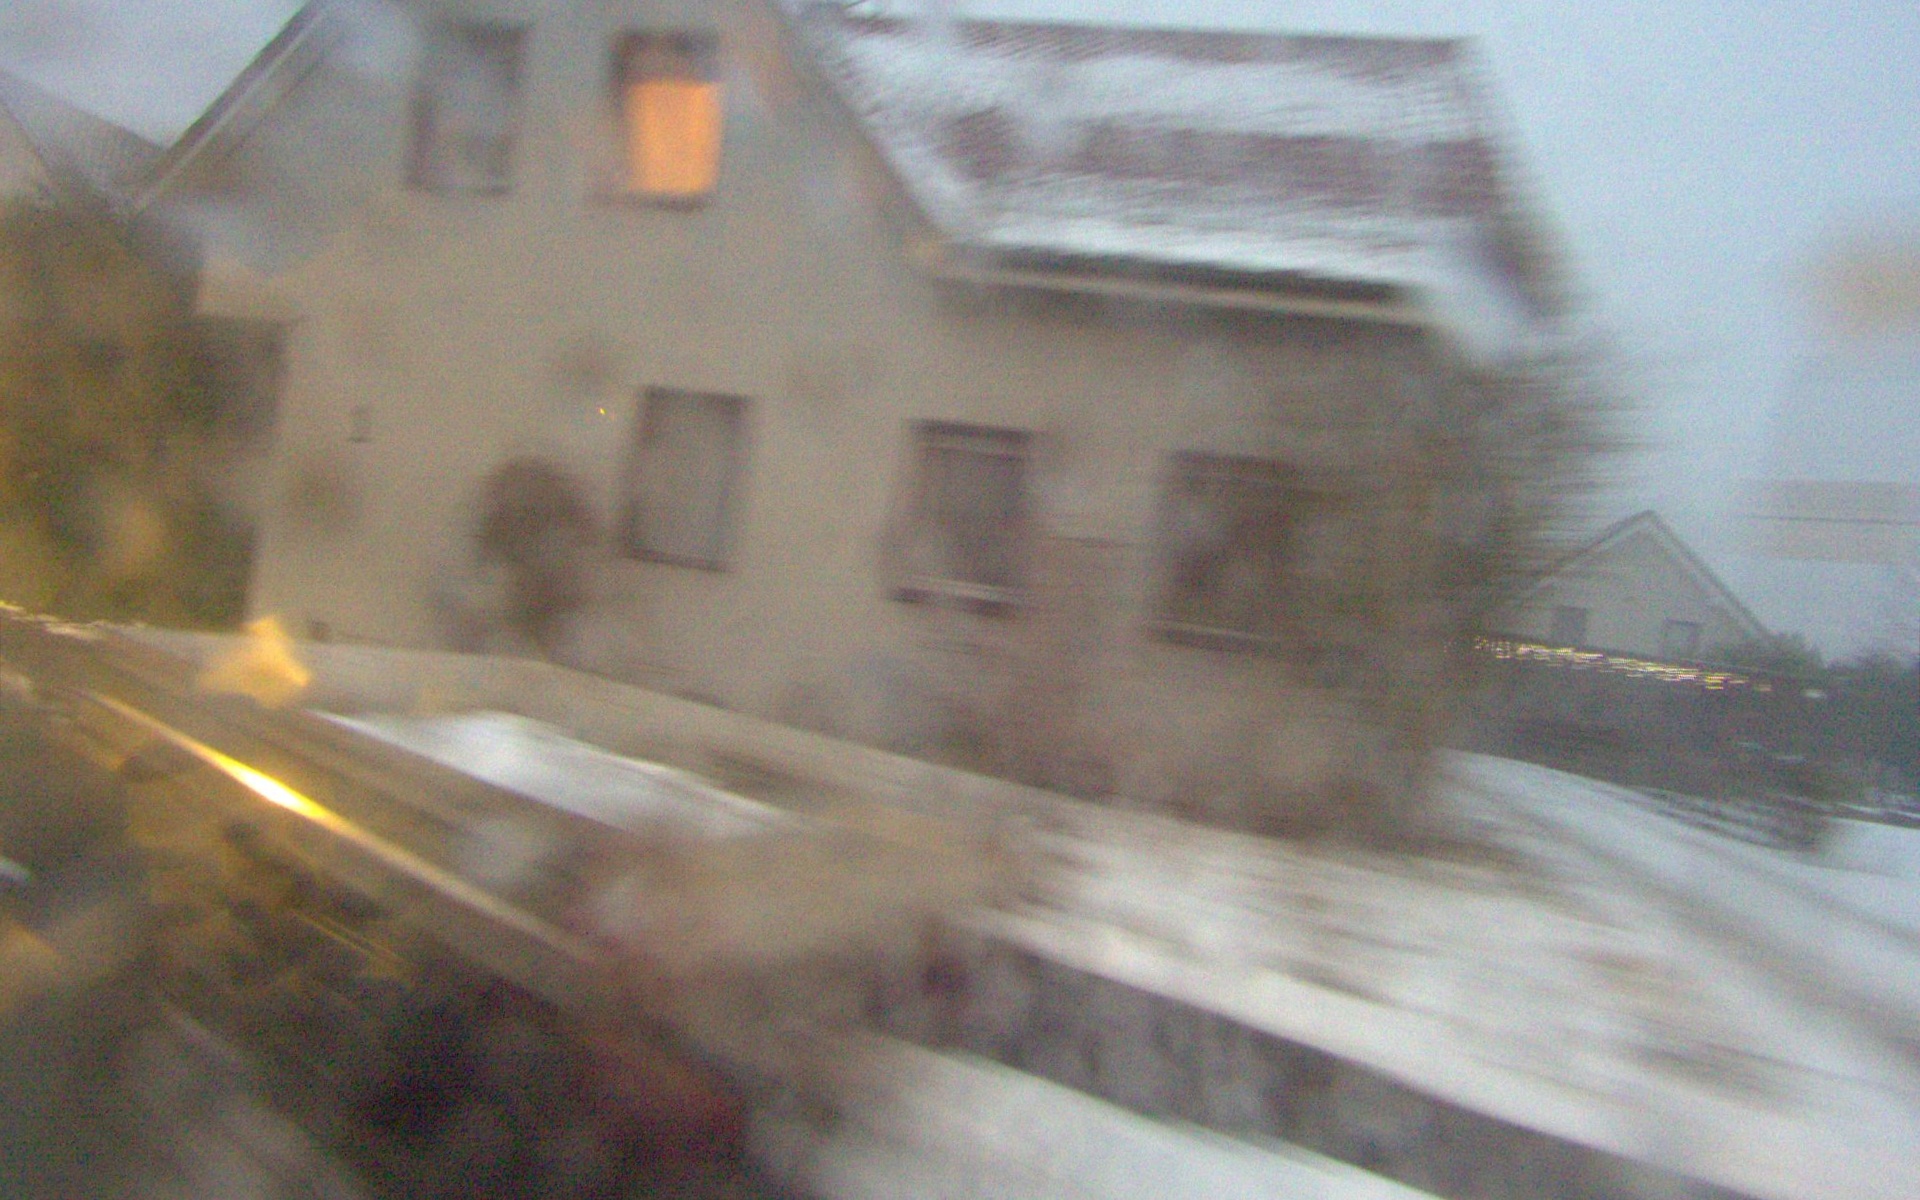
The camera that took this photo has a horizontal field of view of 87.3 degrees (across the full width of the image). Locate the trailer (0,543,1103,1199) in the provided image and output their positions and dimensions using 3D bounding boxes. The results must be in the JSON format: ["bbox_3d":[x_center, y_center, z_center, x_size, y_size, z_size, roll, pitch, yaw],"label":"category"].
[{"bbox_3d":[-2.057,0.741,3.853,4.657,1.404,1.996,6,-2,35],"label":"trailer"}]
